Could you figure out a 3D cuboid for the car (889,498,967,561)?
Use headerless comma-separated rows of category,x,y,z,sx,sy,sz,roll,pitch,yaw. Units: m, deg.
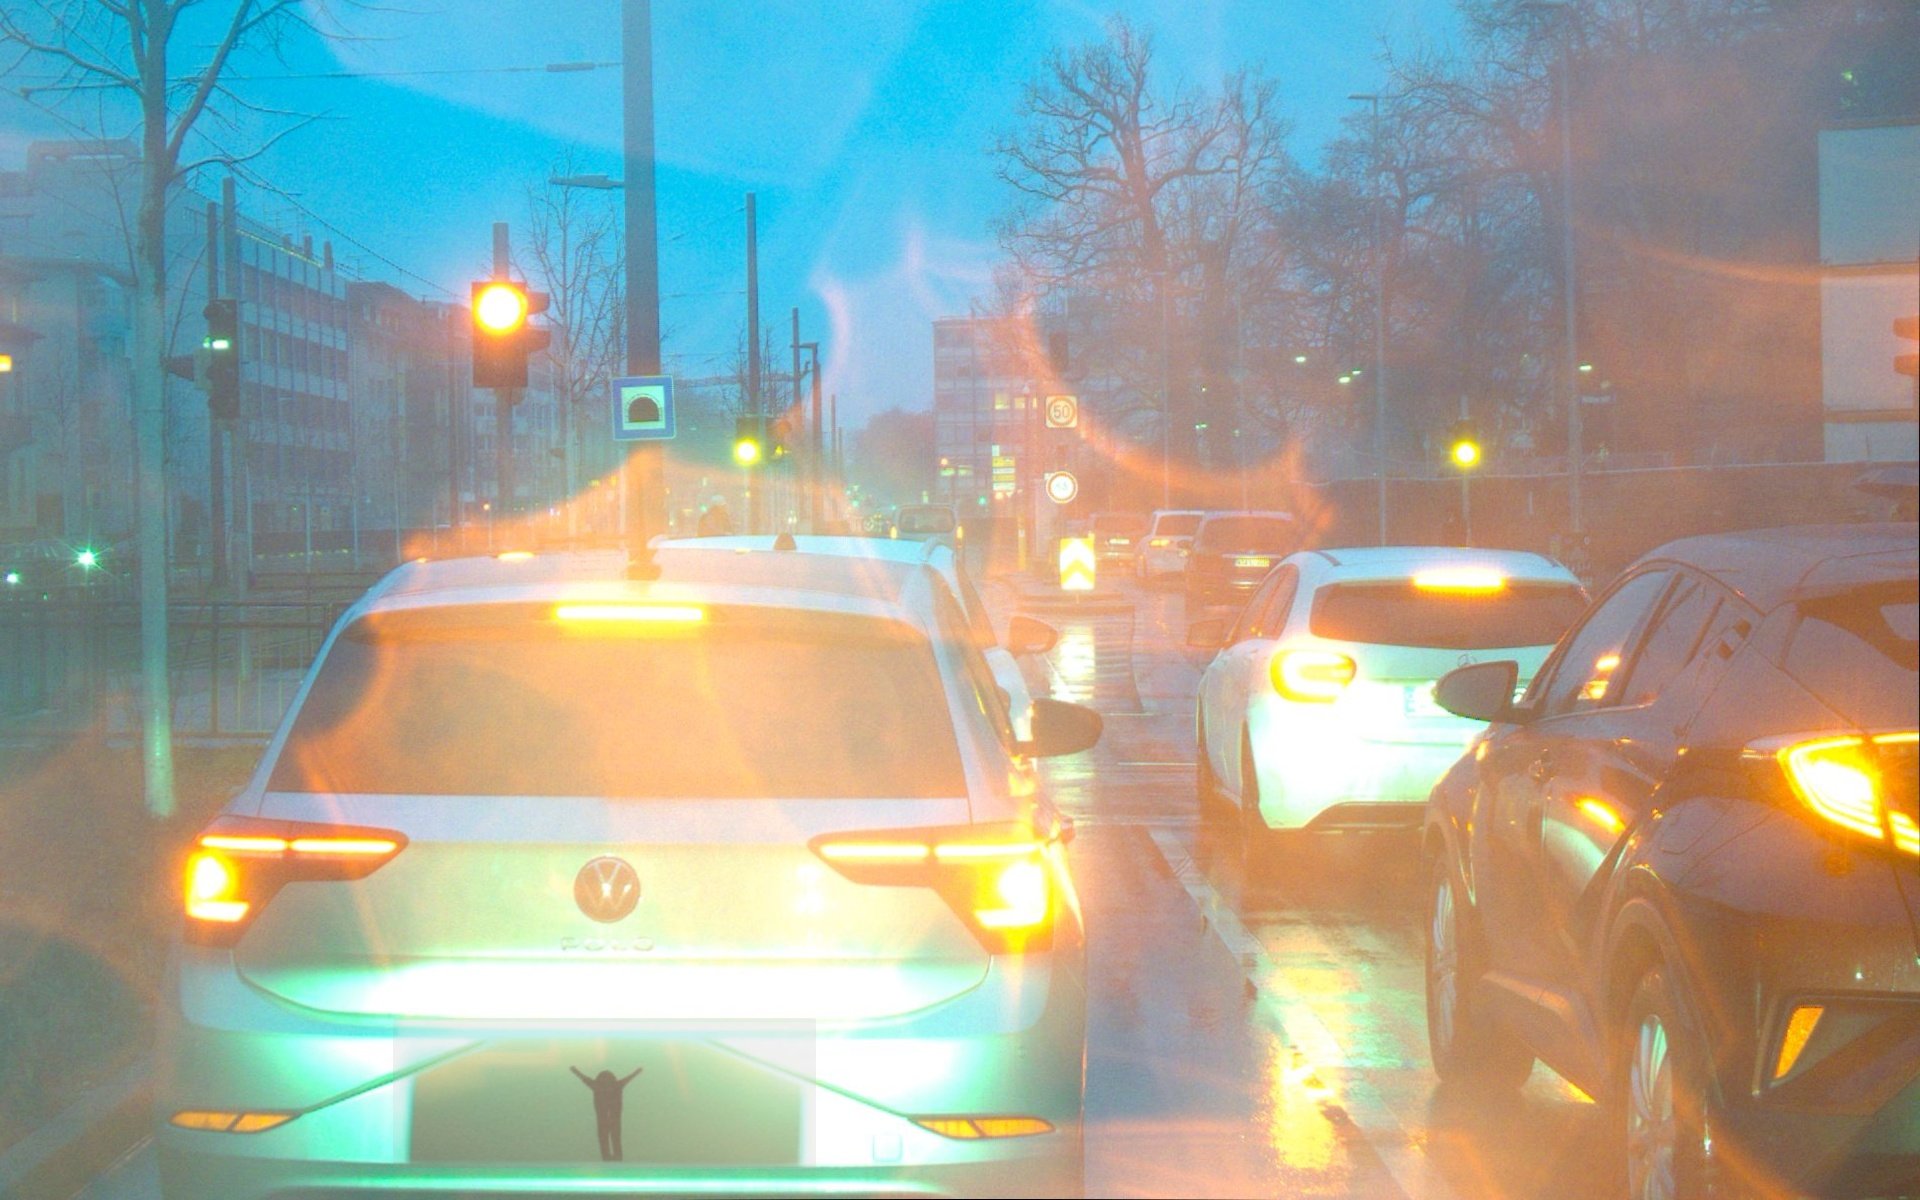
car,-0.743,-1.666,80.441,1.737,1.415,4.394,-1,1,0

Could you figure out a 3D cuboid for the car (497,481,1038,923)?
car,-0.662,0.286,13.910,1.799,1.461,4.586,-1,1,0

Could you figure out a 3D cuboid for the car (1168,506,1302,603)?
car,4.219,-0.730,53.187,1.737,1.415,3.703,-1,1,0

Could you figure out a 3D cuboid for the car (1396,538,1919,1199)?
car,2.130,0.625,7.625,1.800,1.505,3.895,-1,1,0

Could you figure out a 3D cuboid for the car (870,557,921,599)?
car,-2.280,-0.794,122.441,1.737,1.415,3.804,-1,1,0

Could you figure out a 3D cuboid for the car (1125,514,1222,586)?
car,4.394,-1.052,71.282,1.737,1.415,3.703,-1,1,0

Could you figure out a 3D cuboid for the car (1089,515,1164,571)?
car,4.390,-1.530,90.895,1.737,1.415,4.146,-1,1,0

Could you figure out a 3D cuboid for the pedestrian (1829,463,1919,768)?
pedestrian,6.424,0.088,23.178,0.959,2.007,1.007,-1,1,8

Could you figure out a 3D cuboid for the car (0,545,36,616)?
car,-22.353,-0.432,77.705,1.867,1.571,4.000,-1,1,-1

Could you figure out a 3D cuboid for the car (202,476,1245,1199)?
car,-0.488,0.516,7.612,1.693,1.528,4.001,0,1,-3

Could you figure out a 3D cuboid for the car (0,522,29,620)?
car,-16.644,-0.481,55.882,1.993,1.597,4.000,1,1,-1

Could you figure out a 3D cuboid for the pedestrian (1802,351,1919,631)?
pedestrian,6.915,-0.802,25.301,0.958,2.007,1.008,-1,1,-23

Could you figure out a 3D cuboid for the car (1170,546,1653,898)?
car,1.984,0.477,16.113,1.745,1.428,3.731,1,1,0

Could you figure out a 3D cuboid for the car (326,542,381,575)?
car,-29.597,-2.034,167.772,1.950,1.597,4.000,1,1,0
